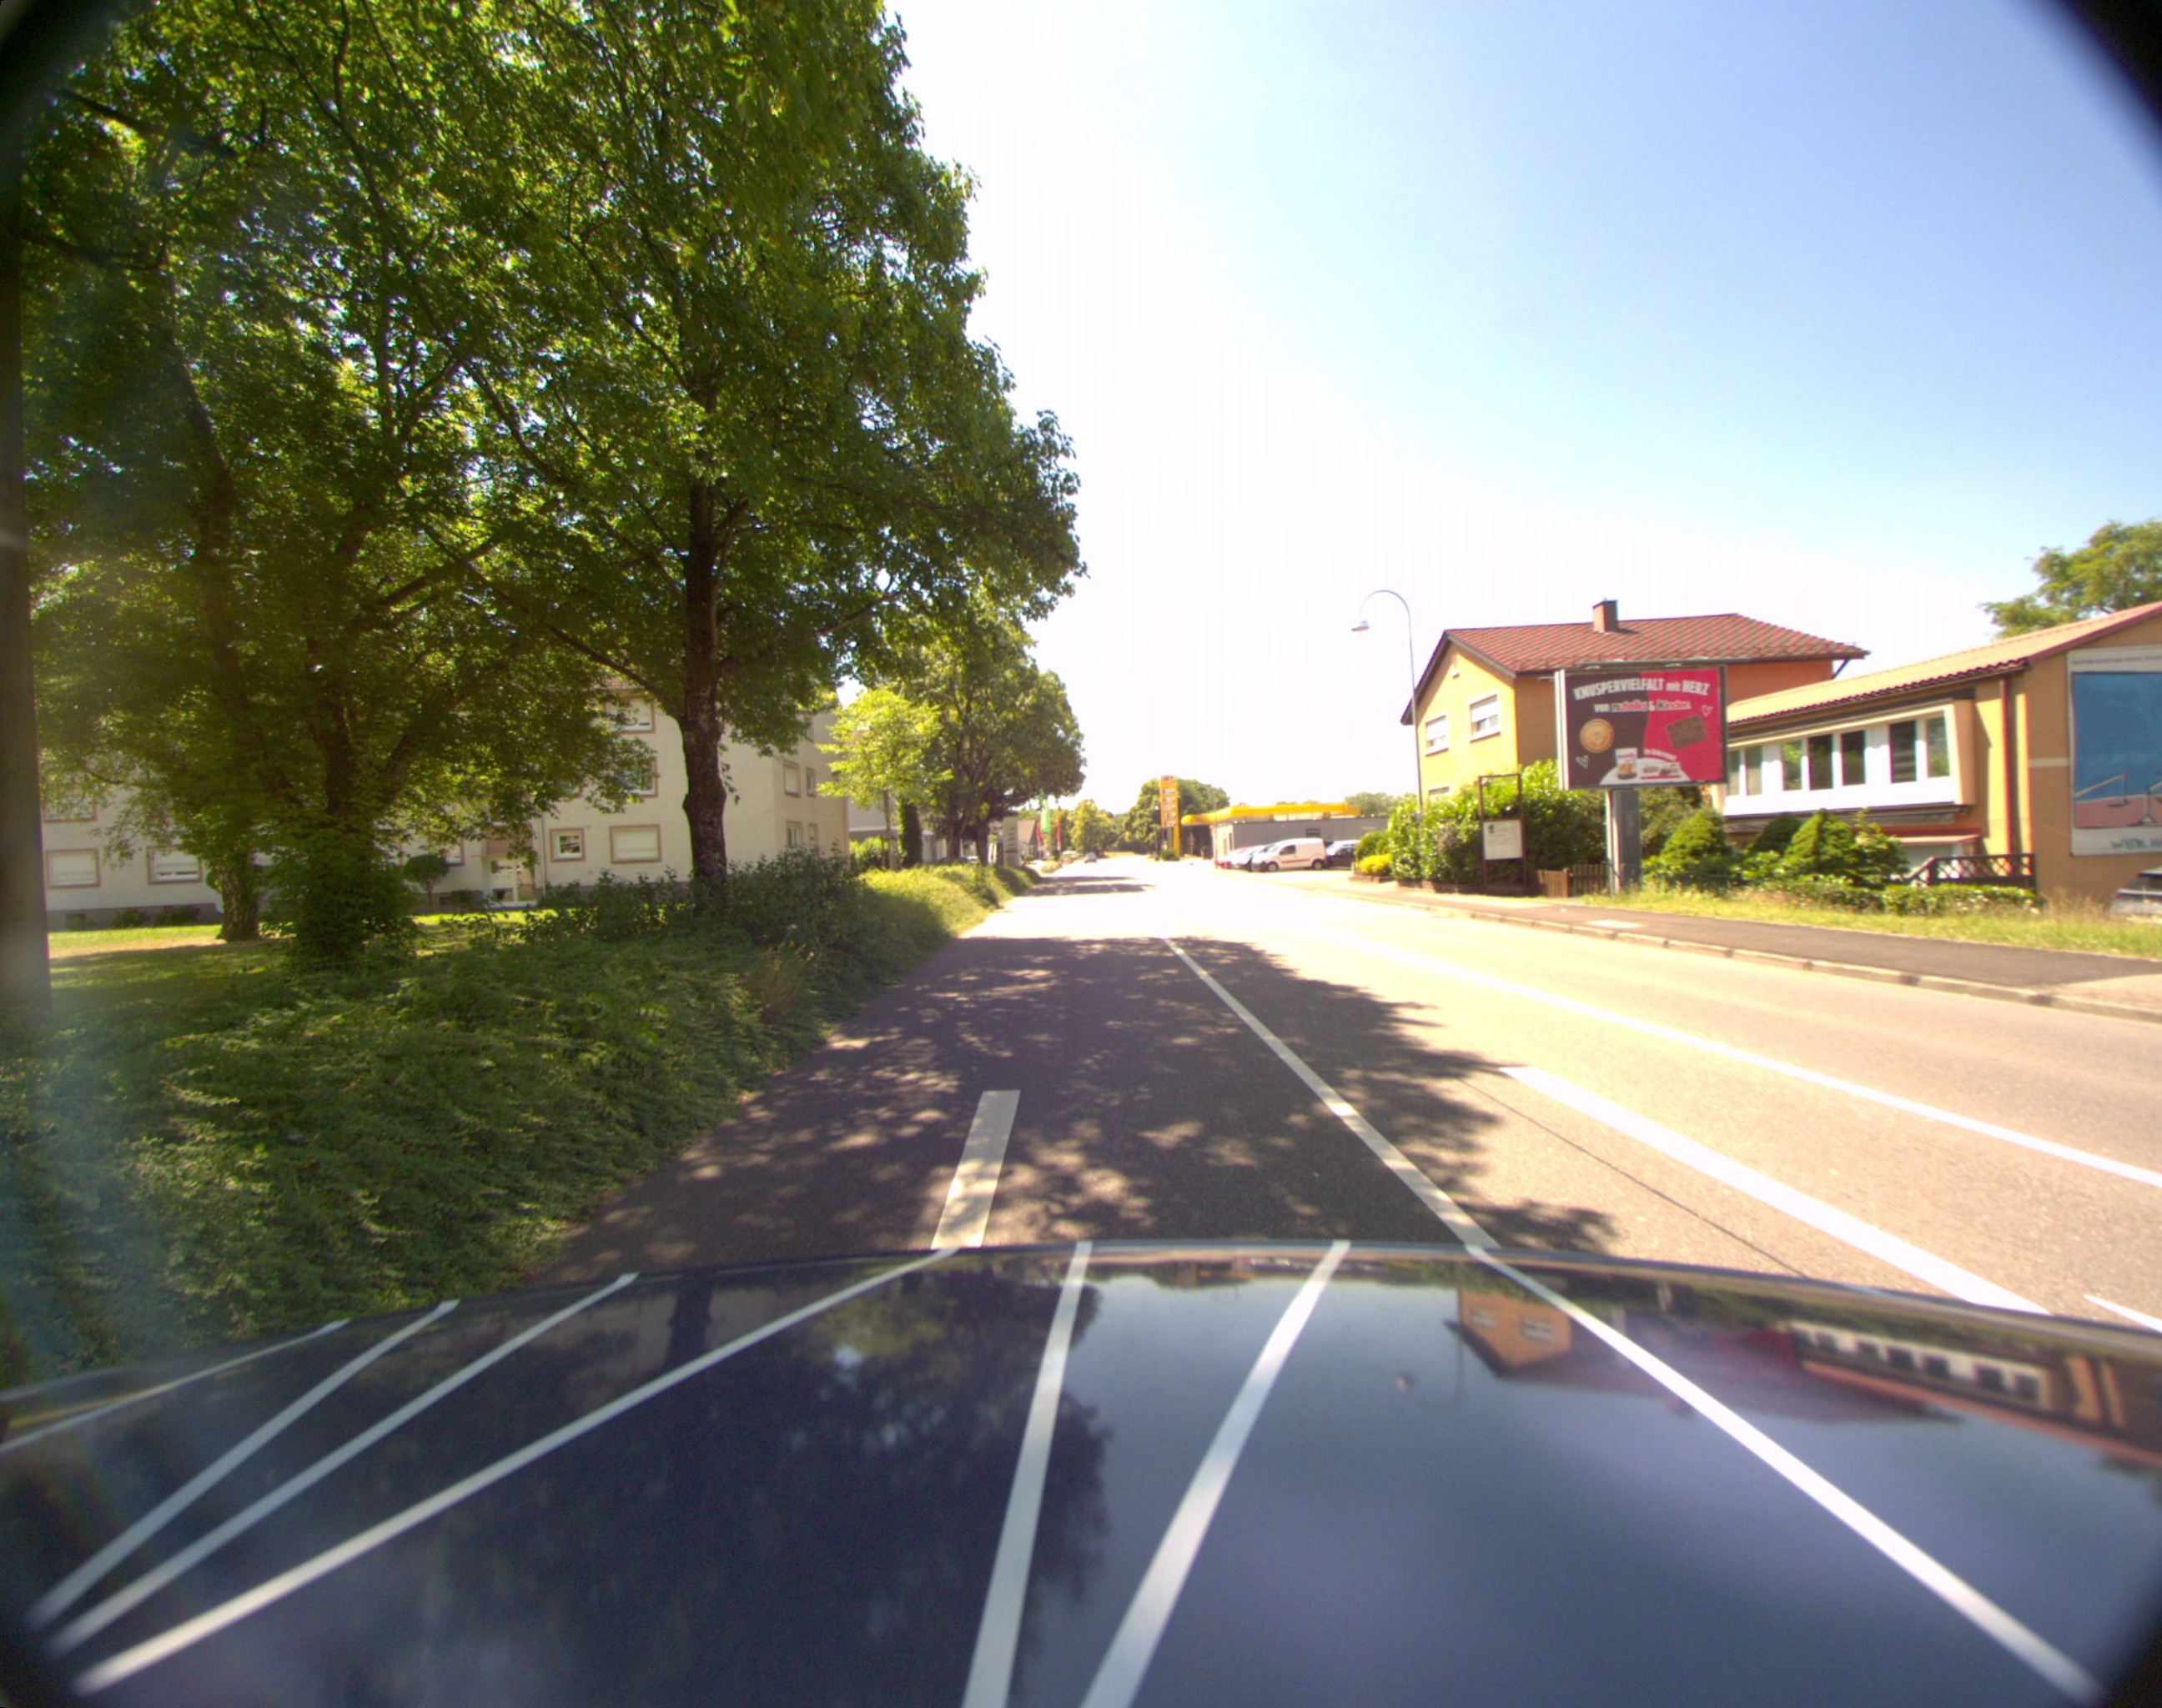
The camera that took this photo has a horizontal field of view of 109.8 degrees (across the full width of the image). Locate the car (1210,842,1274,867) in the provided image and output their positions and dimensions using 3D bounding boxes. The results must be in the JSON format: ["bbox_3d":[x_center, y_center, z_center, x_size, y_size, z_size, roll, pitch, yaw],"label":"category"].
[{"bbox_3d":[12.248,0.017,58.045,4.402,1.750,1.874,-2,1,-5],"label":"car"}]

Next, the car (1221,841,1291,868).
[{"bbox_3d":[12.234,0.044,53.299,4.402,1.750,1.874,-2,1,-5],"label":"car"}]

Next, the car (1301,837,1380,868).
[{"bbox_3d":[16.591,-0.110,48.646,4.402,1.815,1.874,-2,1,-5],"label":"car"}]

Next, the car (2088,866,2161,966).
[{"bbox_3d":[19.944,0.994,12.409,4.224,1.599,1.772,-1,1,7],"label":"car"}]

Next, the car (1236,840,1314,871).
[{"bbox_3d":[11.854,0.053,46.563,4.246,1.750,1.874,-2,1,-5],"label":"car"}]

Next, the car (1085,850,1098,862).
[{"bbox_3d":[1.493,0.294,106.485,1.771,1.521,4.130,-2,1,0],"label":"car"}]

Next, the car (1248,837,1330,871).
[{"bbox_3d":[12.142,0.006,44.416,4.191,1.858,1.874,-2,1,-5],"label":"car"}]

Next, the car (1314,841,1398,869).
[{"bbox_3d":[16.769,0.038,46.437,4.402,1.554,1.874,-2,1,-5],"label":"car"}]

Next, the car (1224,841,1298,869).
[{"bbox_3d":[12.057,0.074,51.069,4.402,1.750,1.874,-2,1,-5],"label":"car"}]

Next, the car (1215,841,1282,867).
[{"bbox_3d":[12.240,-0.010,55.575,4.402,1.750,1.874,-2,1,-5],"label":"car"}]
